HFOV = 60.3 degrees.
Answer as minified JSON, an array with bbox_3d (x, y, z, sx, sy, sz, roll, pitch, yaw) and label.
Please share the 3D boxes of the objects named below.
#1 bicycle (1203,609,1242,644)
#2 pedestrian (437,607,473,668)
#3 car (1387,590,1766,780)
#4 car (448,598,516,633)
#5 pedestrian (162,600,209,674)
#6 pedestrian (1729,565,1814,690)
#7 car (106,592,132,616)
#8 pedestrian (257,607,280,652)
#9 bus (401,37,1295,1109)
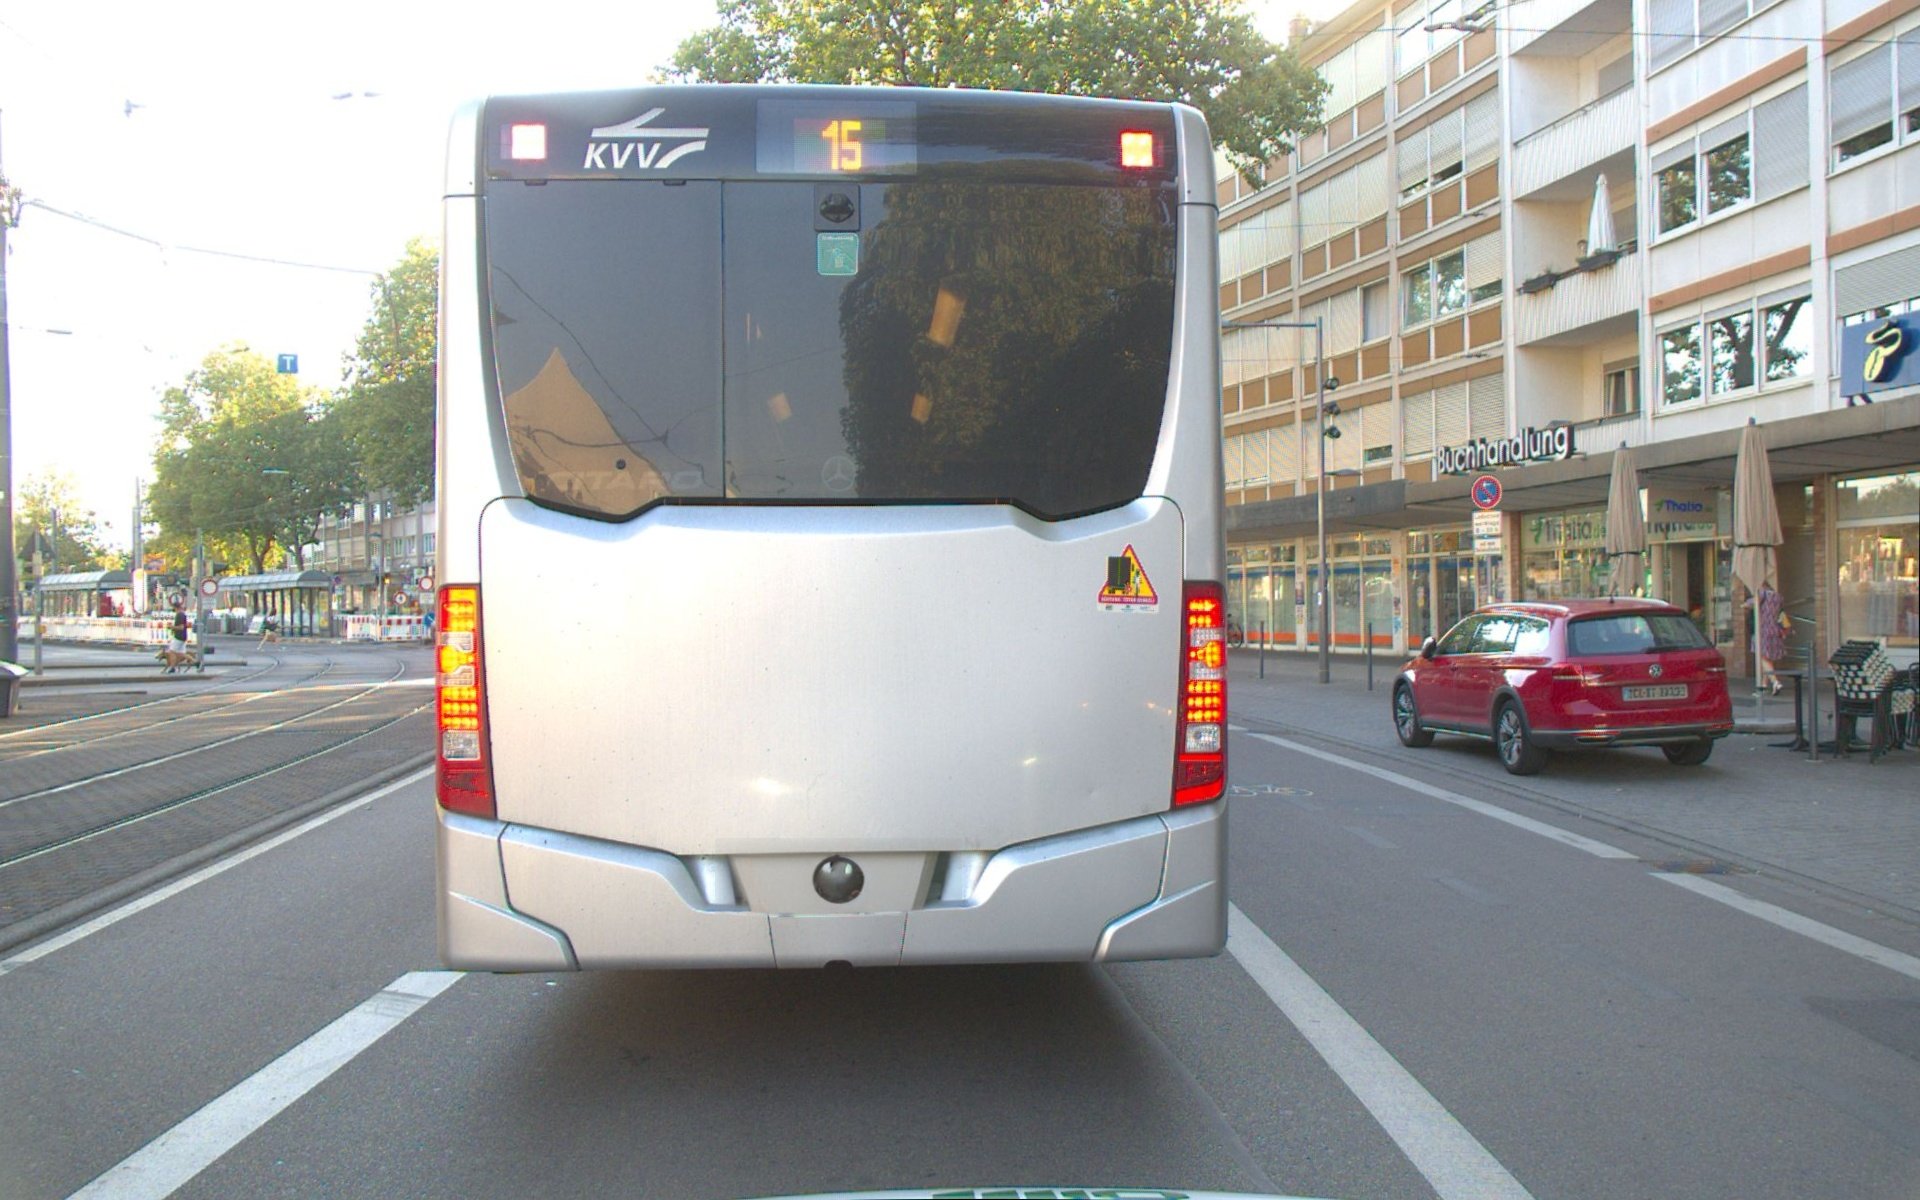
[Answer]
[{"bbox_3d":[7.240,0.729,45.639,0.406,0.961,1.431,-1,0,-20],"label":"bicycle"},{"bbox_3d":[-12.551,0.931,41.132,0.754,1.475,0.636,1,-1,-10],"label":"pedestrian"},{"bbox_3d":[5.699,0.705,15.930,1.735,1.508,4.299,-2,0,-4],"label":"car"},{"bbox_3d":[-25.383,0.817,87.792,1.982,1.823,3.940,1,-1,-41],"label":"car"},{"bbox_3d":[-18.724,0.897,39.987,0.878,1.758,0.517,-1,0,1],"label":"pedestrian"},{"bbox_3d":[10.920,0.366,22.273,0.637,1.620,0.788,-3,0,-6],"label":"pedestrian"},{"bbox_3d":[-72.555,0.347,142.641,1.604,2.049,3.075,-1,0,-34],"label":"car"},{"bbox_3d":[-25.809,1.102,61.725,0.653,1.685,0.436,-1,-1,-44],"label":"pedestrian"},{"bbox_3d":[-0.521,-0.062,9.815,2.578,3.081,9.992,0,0,-3],"label":"bus"}]
